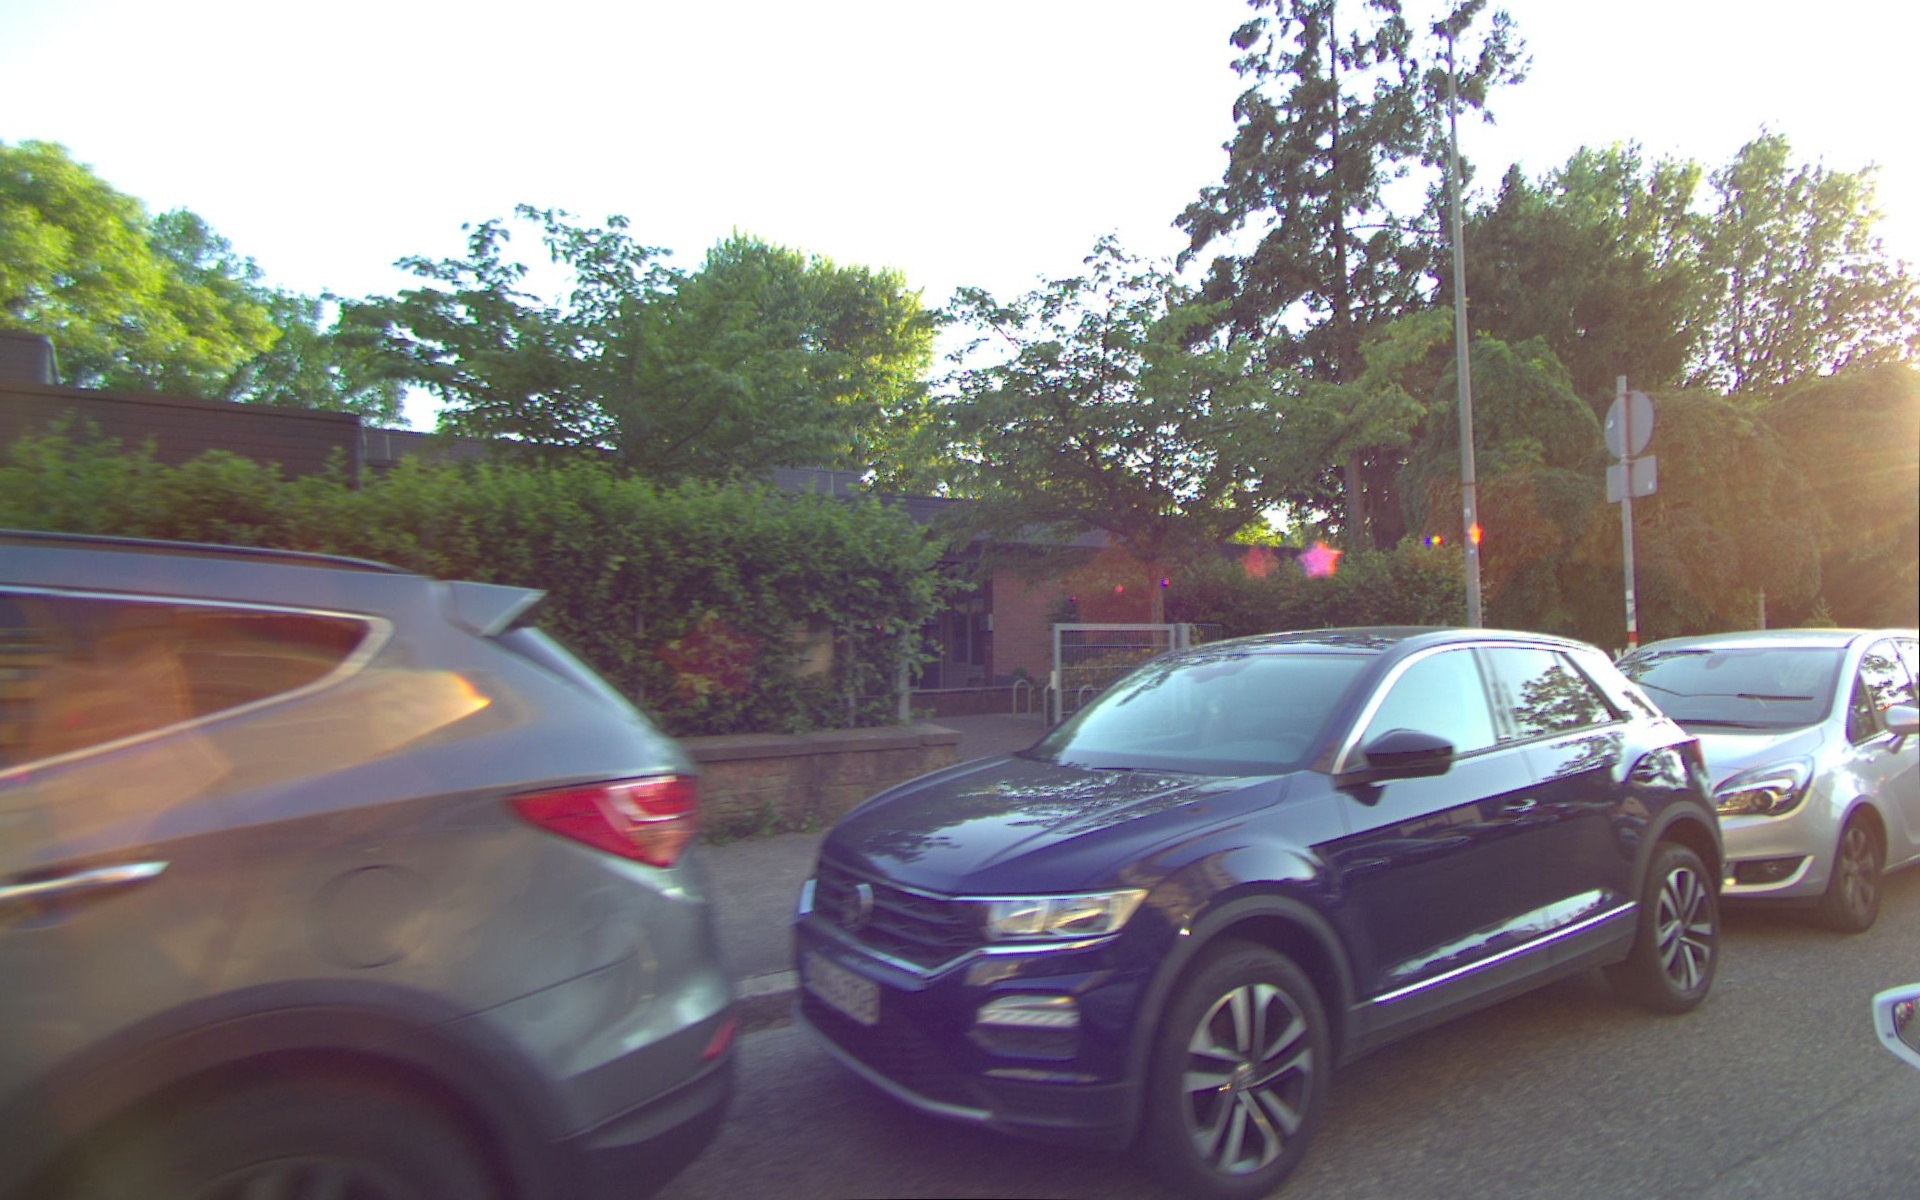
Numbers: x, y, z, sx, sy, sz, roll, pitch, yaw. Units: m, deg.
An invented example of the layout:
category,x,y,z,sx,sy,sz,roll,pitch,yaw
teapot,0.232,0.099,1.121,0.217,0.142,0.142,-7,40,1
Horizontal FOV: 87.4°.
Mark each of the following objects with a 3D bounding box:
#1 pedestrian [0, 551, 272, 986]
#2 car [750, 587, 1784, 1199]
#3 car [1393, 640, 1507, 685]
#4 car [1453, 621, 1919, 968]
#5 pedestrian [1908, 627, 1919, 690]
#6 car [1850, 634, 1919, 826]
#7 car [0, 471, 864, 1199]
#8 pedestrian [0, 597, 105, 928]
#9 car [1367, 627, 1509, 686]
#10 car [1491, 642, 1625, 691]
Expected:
category,x,y,z,sx,sy,sz,roll,pitch,yaw
pedestrian,-3.711,0.682,4.593,0.740,1.755,0.897,1,1,-23
car,1.427,0.855,4.021,4.123,1.587,1.724,1,-4,-34
car,20.207,2.554,41.568,1.799,1.583,3.857,-6,0,-27
car,5.181,0.982,6.504,4.086,1.587,1.724,1,-4,-34
pedestrian,28.519,1.724,29.675,0.613,1.833,0.590,1,-1,-29
car,9.709,1.087,8.960,3.658,1.587,1.724,1,-4,-34
car,-2.459,0.720,1.764,4.277,1.753,1.724,1,-4,-34
pedestrian,-4.835,0.757,4.895,0.892,1.528,0.744,1,1,-32
car,16.324,1.963,34.503,1.801,1.821,4.212,5,-5,-28
car,22.047,2.427,37.171,1.798,1.511,3.844,-6,0,-24
